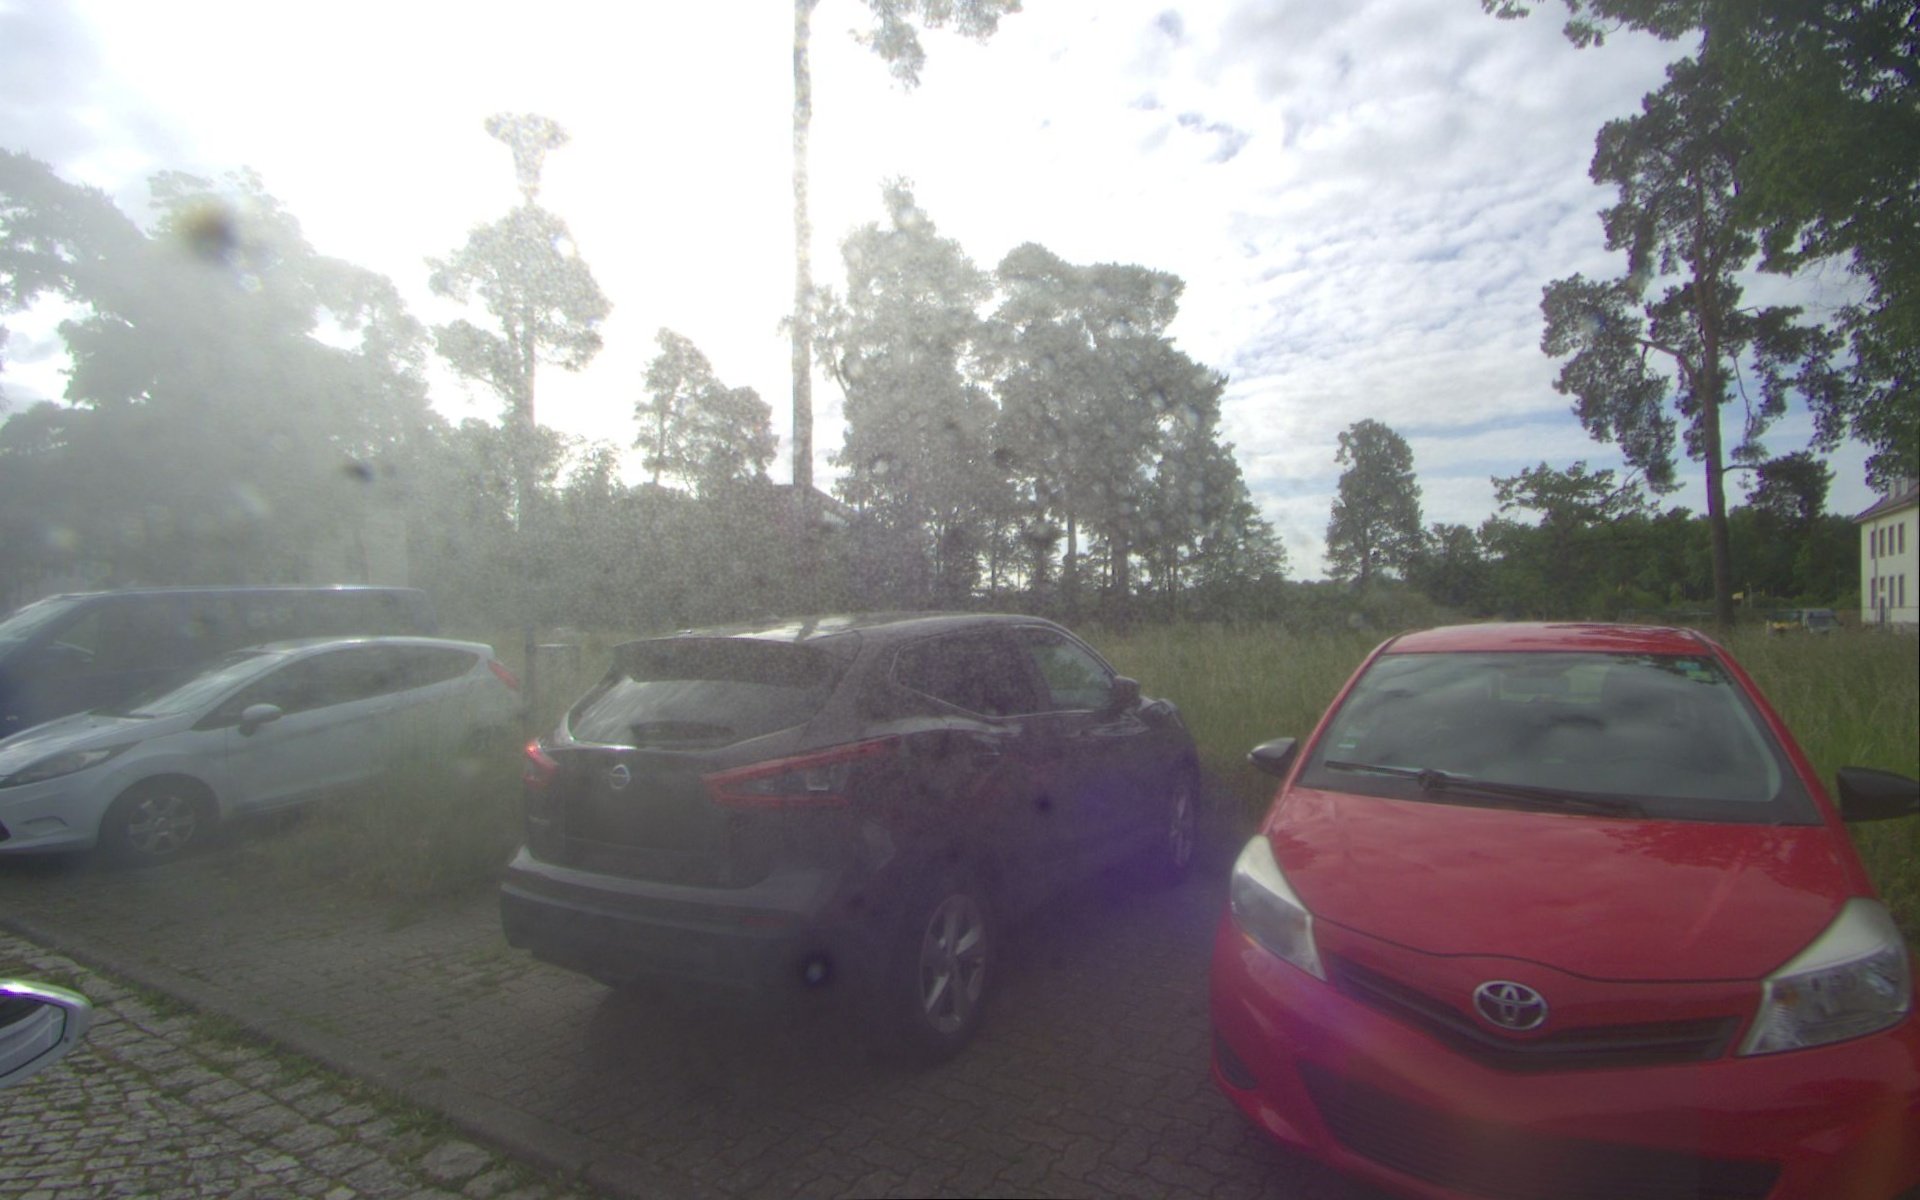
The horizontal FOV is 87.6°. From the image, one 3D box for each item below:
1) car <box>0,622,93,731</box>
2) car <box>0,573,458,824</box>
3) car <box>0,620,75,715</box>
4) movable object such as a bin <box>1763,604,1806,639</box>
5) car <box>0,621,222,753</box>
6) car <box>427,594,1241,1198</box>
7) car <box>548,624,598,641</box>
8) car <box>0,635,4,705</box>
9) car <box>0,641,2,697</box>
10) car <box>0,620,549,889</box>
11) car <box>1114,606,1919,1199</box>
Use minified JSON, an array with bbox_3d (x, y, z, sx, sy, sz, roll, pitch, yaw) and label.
[{"bbox_3d":[-14.649,1.108,13.703,1.732,1.492,3.855,-1,1,31],"label":"car"},{"bbox_3d":[-7.673,0.771,9.592,1.974,1.972,4.799,-1,1,31],"label":"car"},{"bbox_3d":[-16.699,1.129,15.715,1.732,1.492,3.855,-1,1,31],"label":"car"},{"bbox_3d":[49.519,1.313,60.138,3.213,2.040,1.664,1,-1,-45],"label":"movable object such as a bin"},{"bbox_3d":[-11.971,1.075,12.666,1.732,1.492,3.855,-1,1,31],"label":"car"},{"bbox_3d":[-0.068,0.801,4.988,1.795,1.620,4.253,-1,0,31],"label":"car"},{"bbox_3d":[-34.608,2.922,89.671,1.628,1.439,3.940,-1,-4,34],"label":"car"},{"bbox_3d":[-18.832,1.294,16.700,1.732,1.253,3.855,-1,1,31],"label":"car"},{"bbox_3d":[-20.889,1.248,18.516,1.844,1.435,4.253,-1,1,32],"label":"car"},{"bbox_3d":[-5.585,0.974,8.111,1.814,1.492,3.855,-1,1,31],"label":"car"},{"bbox_3d":[2.202,0.807,3.843,1.741,1.505,3.997,-1,0,32],"label":"car"}]
